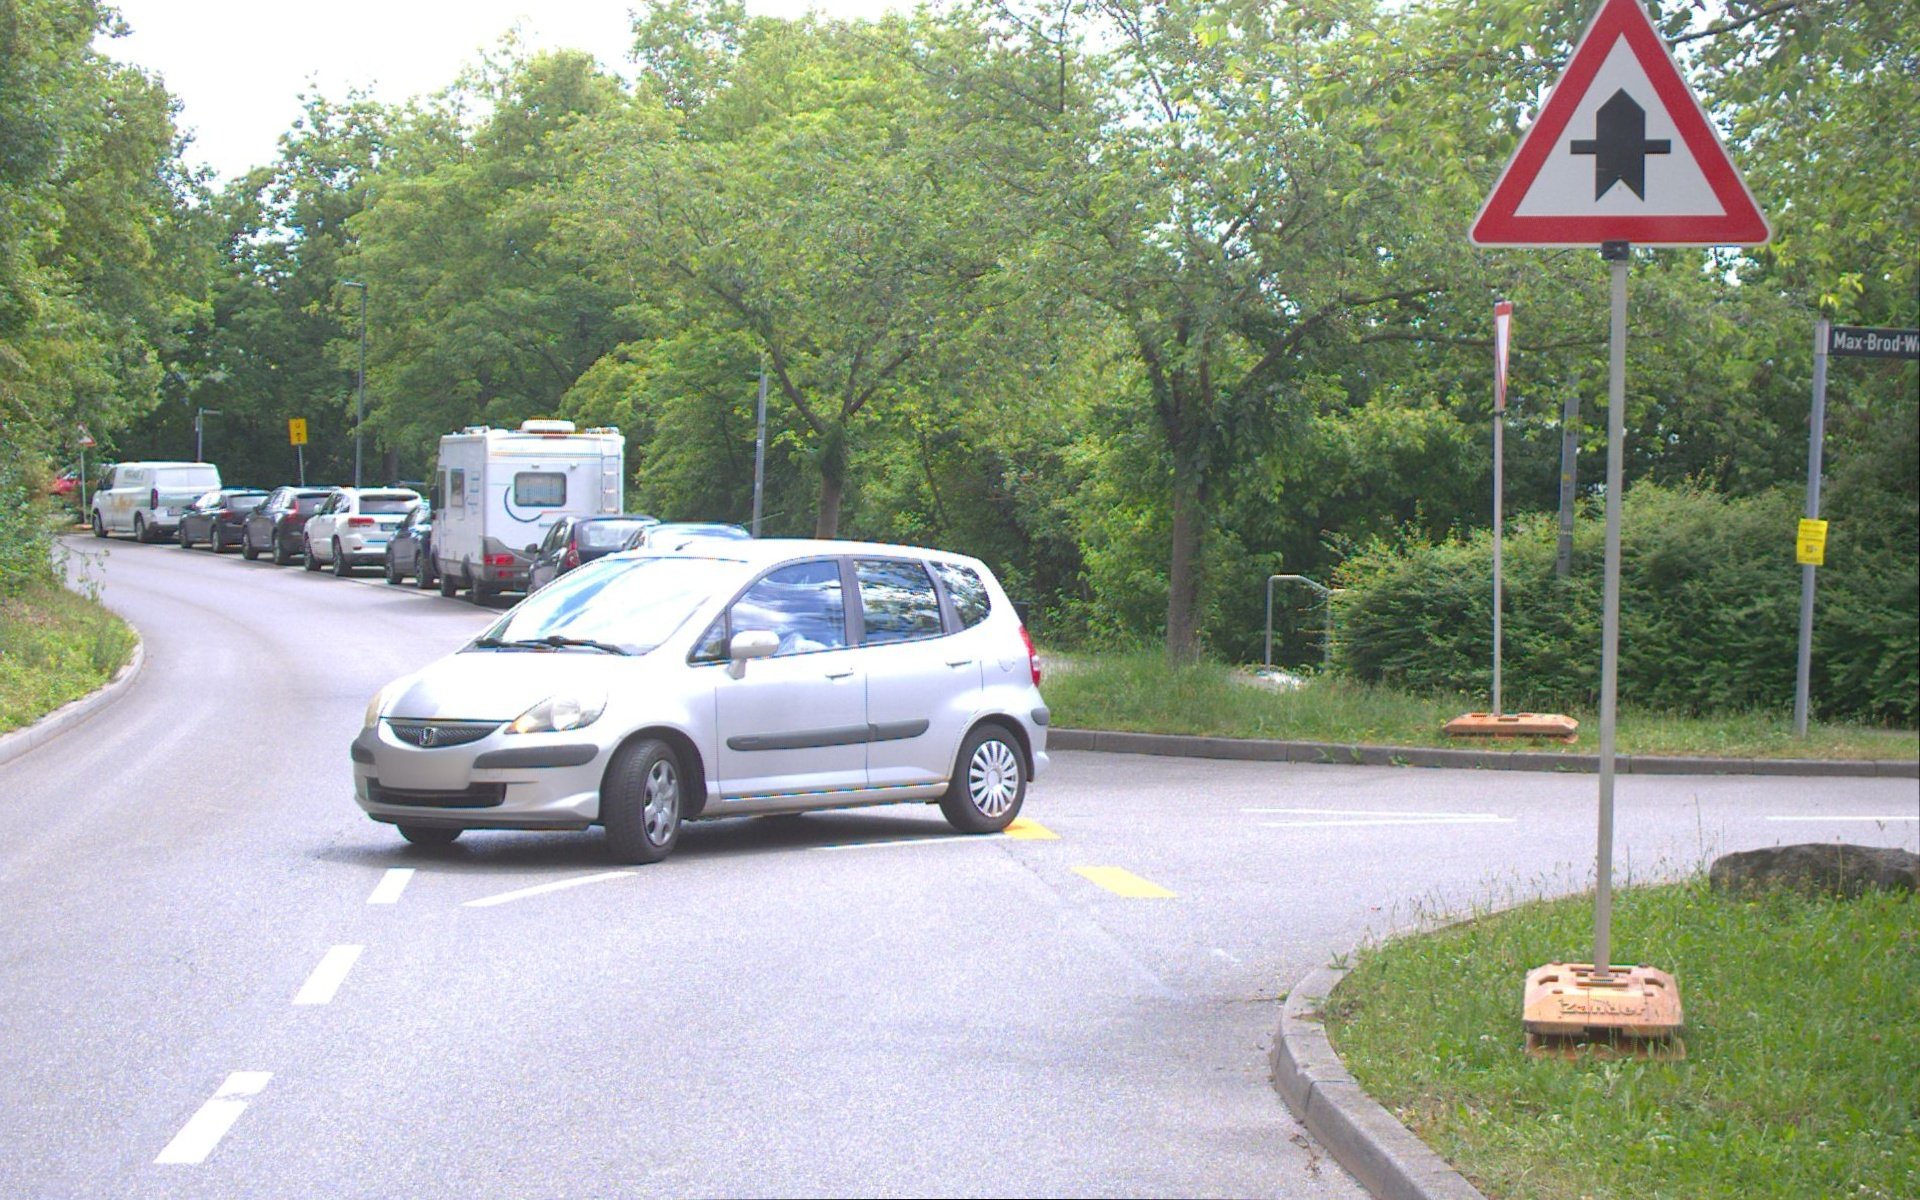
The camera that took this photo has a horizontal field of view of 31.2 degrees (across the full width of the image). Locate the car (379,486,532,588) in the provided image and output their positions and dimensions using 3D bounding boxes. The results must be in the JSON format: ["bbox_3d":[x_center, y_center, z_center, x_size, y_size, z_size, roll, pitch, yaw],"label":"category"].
[{"bbox_3d":[-9.167,-1.178,62.234,1.710,1.585,4.001,-7,5,-21],"label":"car"}]

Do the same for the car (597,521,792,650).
[{"bbox_3d":[-3.294,-0.221,42.020,1.775,1.429,4.335,-1,2,-13],"label":"car"}]

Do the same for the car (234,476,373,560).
[{"bbox_3d":[-14.246,-1.802,74.395,1.993,1.620,4.279,-3,4,-24],"label":"car"}]

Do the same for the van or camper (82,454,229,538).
[{"bbox_3d":[-20.076,-2.620,85.645,1.993,1.913,5.266,-2,4,-31],"label":"van or camper"}]

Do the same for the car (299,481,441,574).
[{"bbox_3d":[-11.867,-1.475,68.903,1.871,1.683,4.581,1,2,-21],"label":"car"}]

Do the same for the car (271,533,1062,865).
[{"bbox_3d":[-1.379,0.436,17.170,1.846,1.451,3.643,2,1,42],"label":"car"}]

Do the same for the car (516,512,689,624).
[{"bbox_3d":[-5.138,-0.470,49.054,1.728,1.514,3.890,-1,1,-17],"label":"car"}]

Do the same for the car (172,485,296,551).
[{"bbox_3d":[-17.038,-1.929,80.602,1.797,1.459,4.001,-1,3,-28],"label":"car"}]

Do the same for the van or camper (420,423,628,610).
[{"bbox_3d":[-7.243,-1.403,56.416,2.332,2.859,6.153,1,2,-17],"label":"van or camper"}]
